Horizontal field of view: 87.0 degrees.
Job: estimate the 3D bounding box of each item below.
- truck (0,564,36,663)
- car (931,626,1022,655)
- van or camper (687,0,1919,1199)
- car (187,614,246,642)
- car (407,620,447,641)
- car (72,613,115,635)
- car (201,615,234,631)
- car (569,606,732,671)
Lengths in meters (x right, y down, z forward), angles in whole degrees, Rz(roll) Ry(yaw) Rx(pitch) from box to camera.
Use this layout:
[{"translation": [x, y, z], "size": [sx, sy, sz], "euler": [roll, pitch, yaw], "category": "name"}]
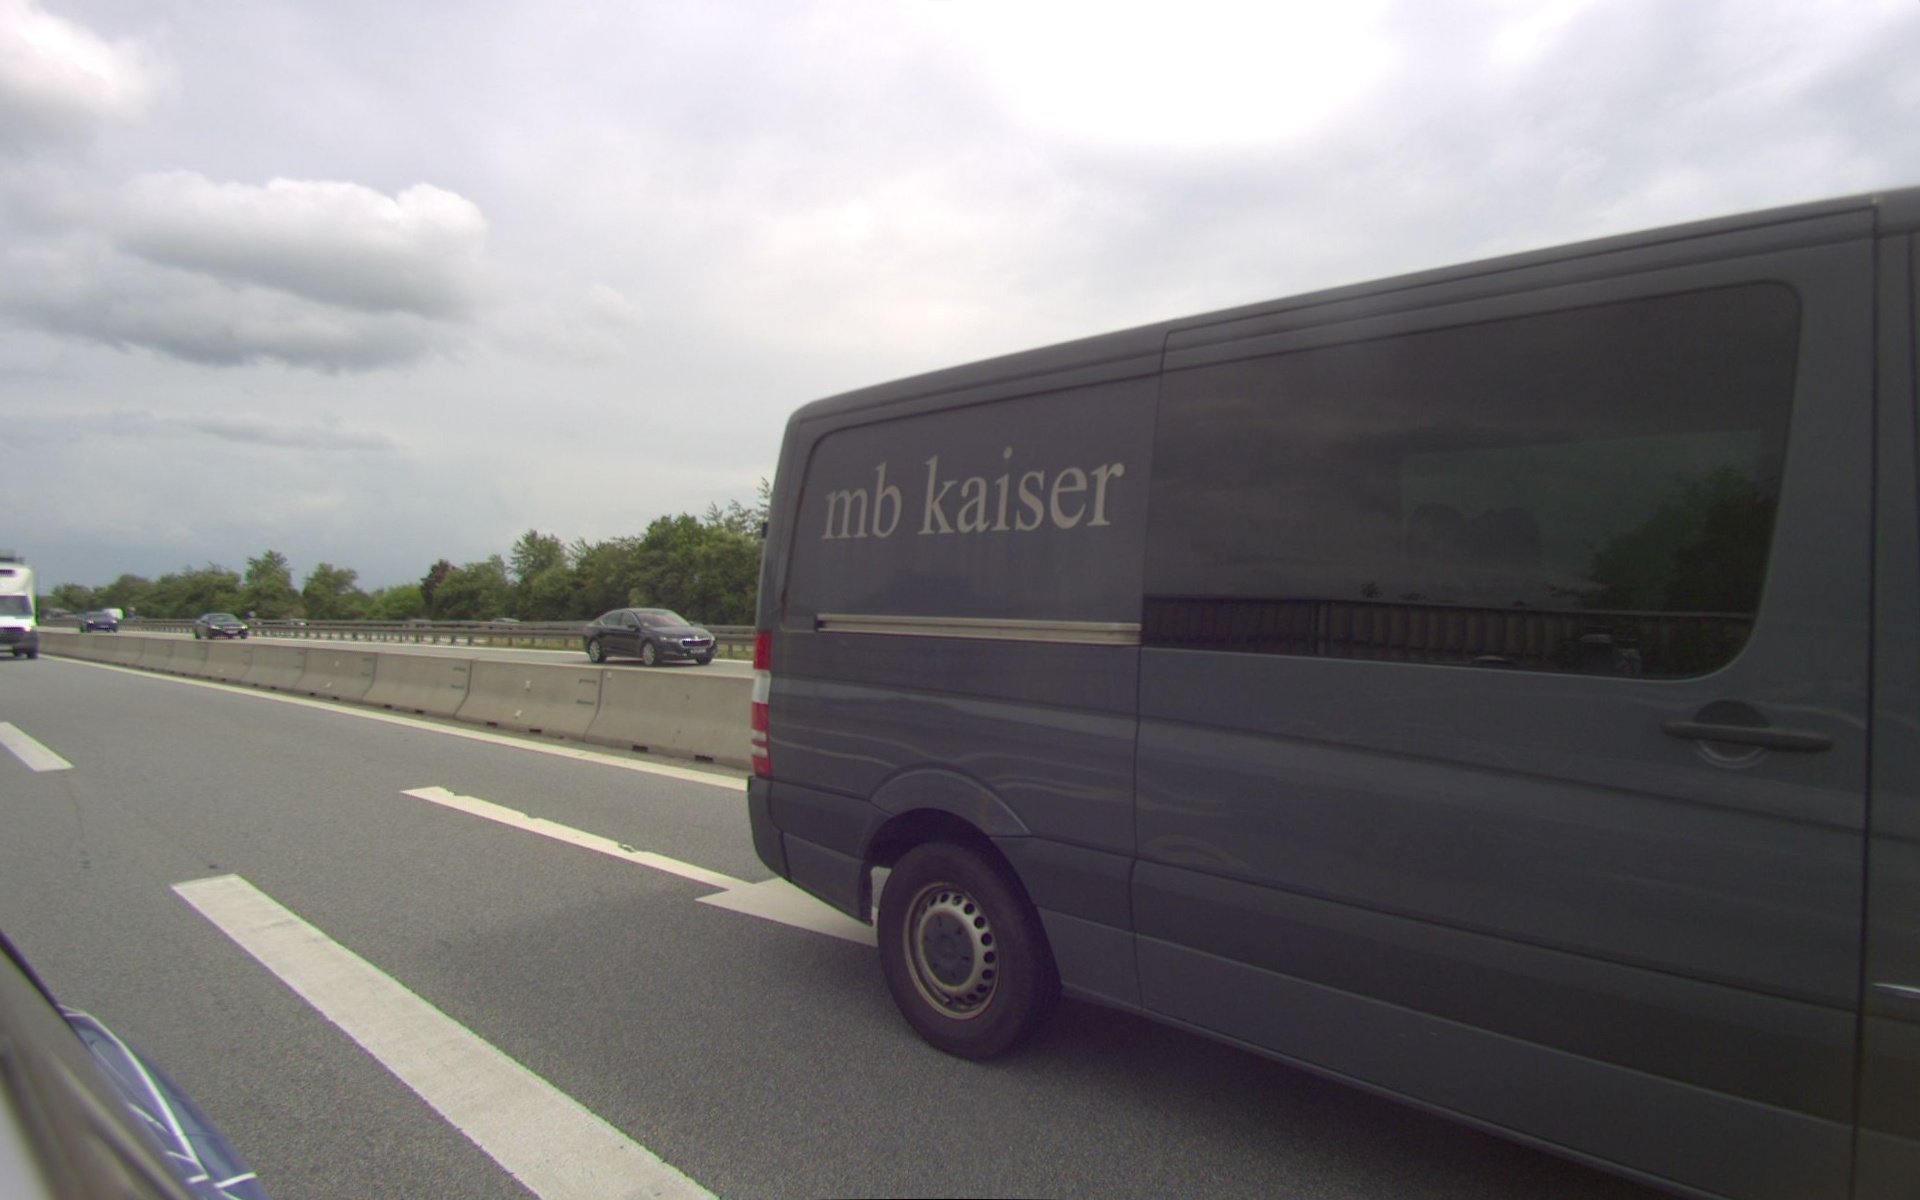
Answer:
[{"translation": [-32.642, 0.470, 33.948], "size": [2.375, 3.113, 6.377], "euler": [0, -1, -43], "category": "truck"}, {"translation": [0.729, 1.808, 46.106], "size": [4.001, 1.201, 1.670], "euler": [-1, -1, 40], "category": "car"}, {"translation": [1.829, 0.219, 2.760], "size": [6.124, 2.388, 1.978], "euler": [-1, -1, 42], "category": "van or camper"}, {"translation": [-41.750, 1.540, 56.793], "size": [4.382, 1.461, 1.754], "euler": [-1, -1, 41], "category": "car"}, {"translation": [-45.600, 2.616, 86.599], "size": [3.997, 1.741, 1.670], "euler": [-1, 0, 40], "category": "car"}, {"translation": [-68.705, 1.861, 80.237], "size": [4.381, 1.674, 1.973], "euler": [-1, -1, 41], "category": "car"}, {"translation": [-74.215, 2.311, 101.179], "size": [3.715, 1.531, 1.716], "euler": [-1, -1, 38], "category": "car"}, {"translation": [-8.204, 0.956, 26.619], "size": [4.565, 1.539, 2.038], "euler": [-1, -1, 41], "category": "car"}]
